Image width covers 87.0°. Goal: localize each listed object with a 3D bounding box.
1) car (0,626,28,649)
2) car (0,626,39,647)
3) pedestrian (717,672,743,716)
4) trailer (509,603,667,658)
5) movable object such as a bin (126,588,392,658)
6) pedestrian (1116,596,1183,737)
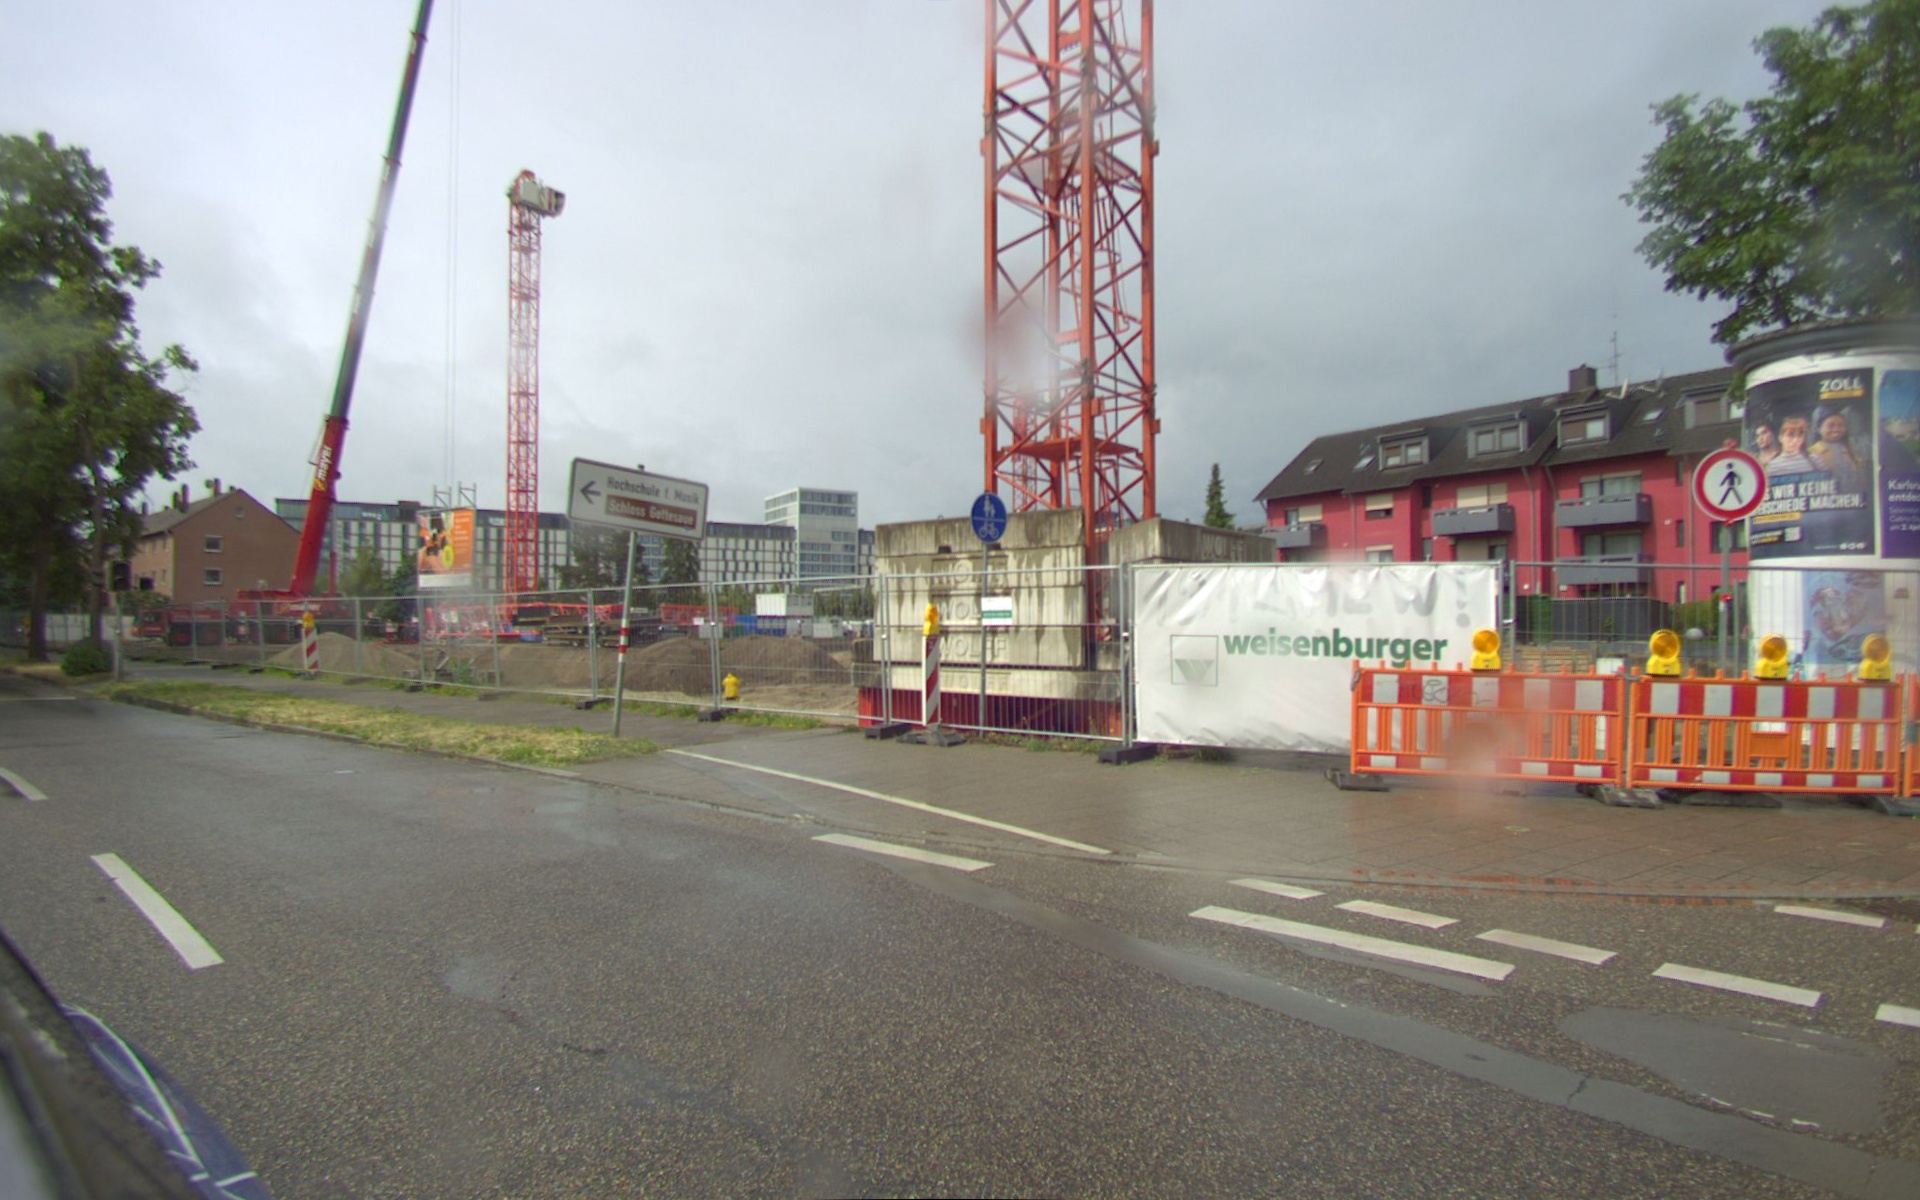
[{"bbox_3d":[-69.783,2.711,72.949,3.813,1.563,1.700,-1,0,-42],"label":"car"},{"bbox_3d":[-72.393,2.777,77.774,3.994,1.541,1.673,0,0,38],"label":"car"},{"bbox_3d":[-9.196,3.736,40.448,0.849,1.698,0.580,-2,-5,45],"label":"pedestrian"},{"bbox_3d":[-24.999,1.902,67.237,14.295,3.257,2.932,-1,2,39],"label":"trailer"},{"bbox_3d":[-50.811,1.450,74.212,3.101,4.592,15.734,-1,0,42],"label":"movable object such as a bin"},{"bbox_3d":[2.263,0.775,12.134,0.675,1.642,0.723,-1,0,2],"label":"pedestrian"}]
